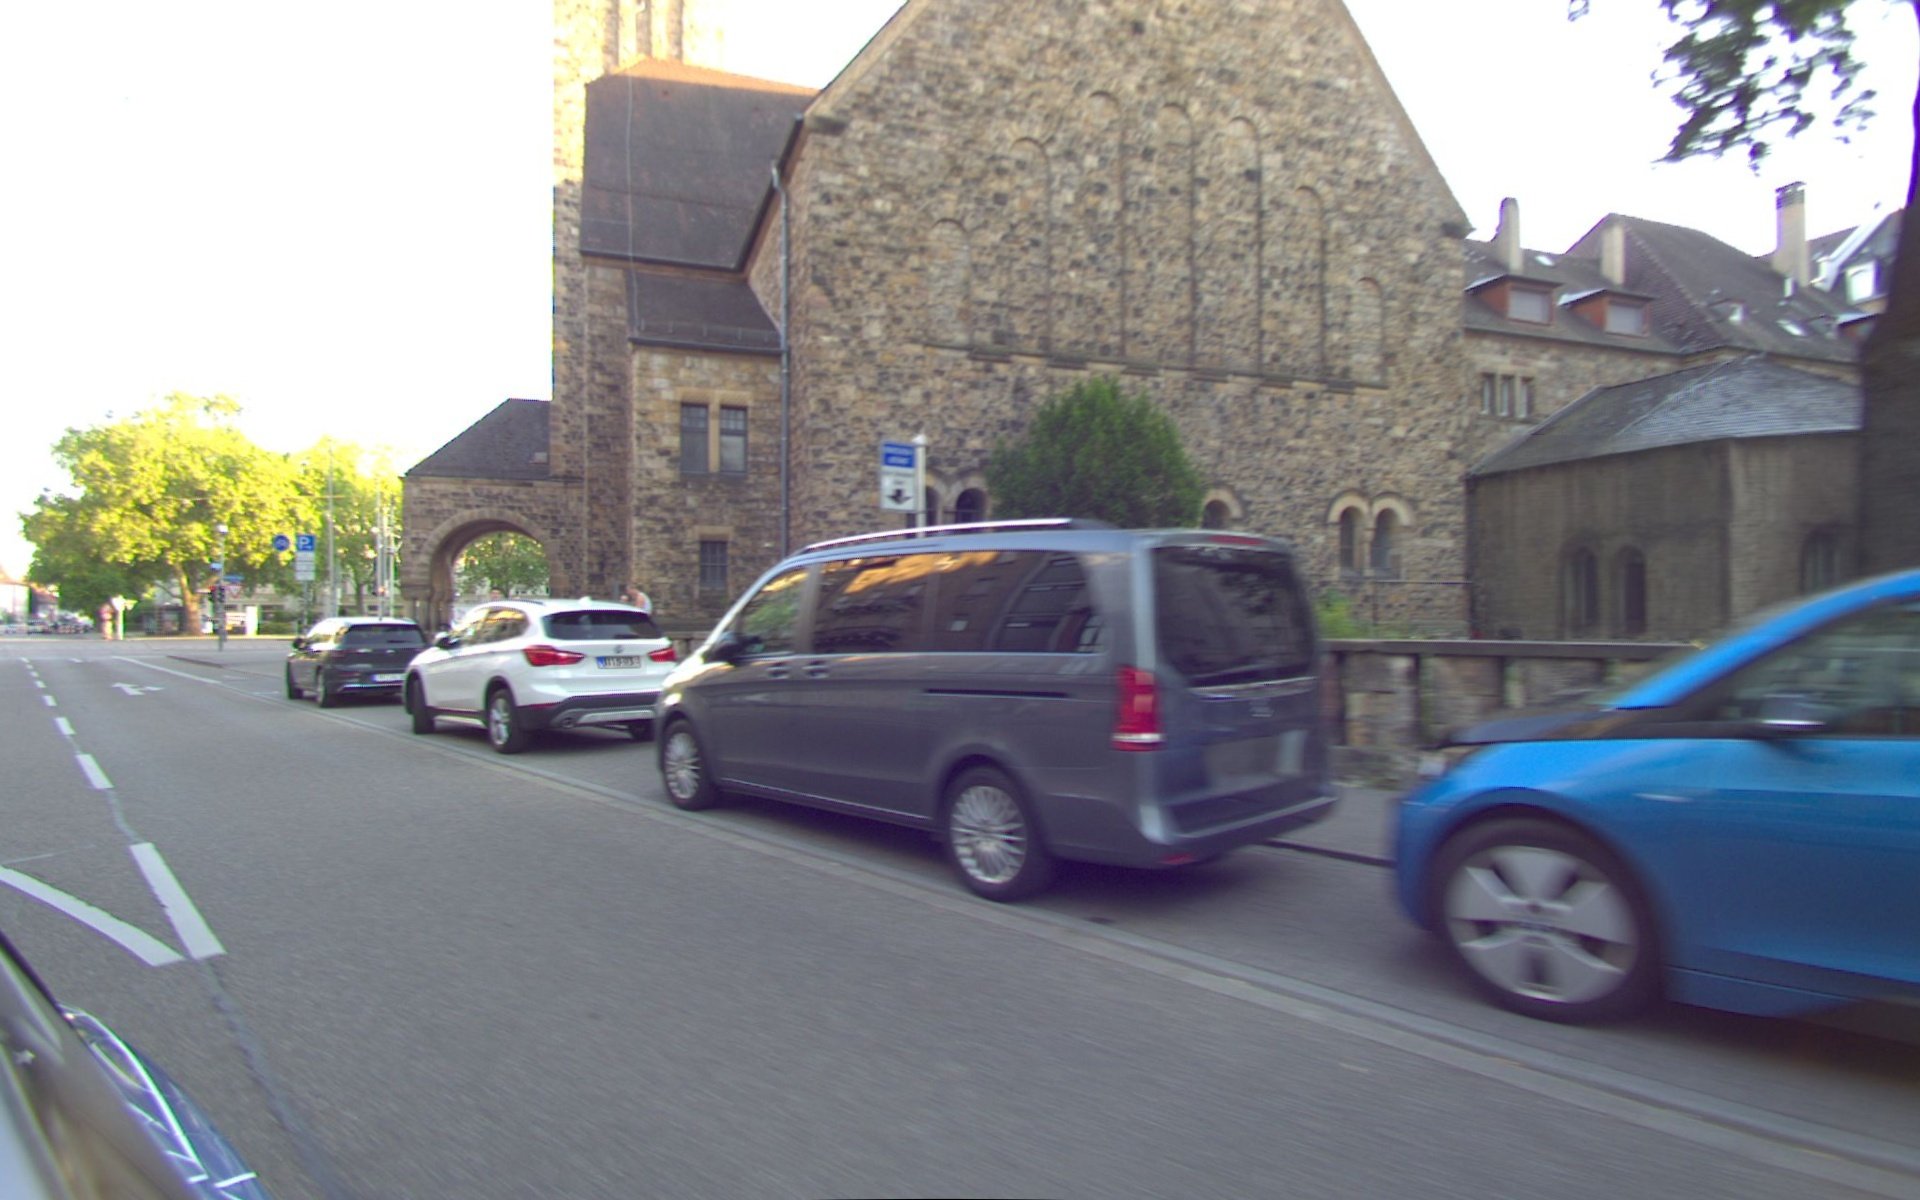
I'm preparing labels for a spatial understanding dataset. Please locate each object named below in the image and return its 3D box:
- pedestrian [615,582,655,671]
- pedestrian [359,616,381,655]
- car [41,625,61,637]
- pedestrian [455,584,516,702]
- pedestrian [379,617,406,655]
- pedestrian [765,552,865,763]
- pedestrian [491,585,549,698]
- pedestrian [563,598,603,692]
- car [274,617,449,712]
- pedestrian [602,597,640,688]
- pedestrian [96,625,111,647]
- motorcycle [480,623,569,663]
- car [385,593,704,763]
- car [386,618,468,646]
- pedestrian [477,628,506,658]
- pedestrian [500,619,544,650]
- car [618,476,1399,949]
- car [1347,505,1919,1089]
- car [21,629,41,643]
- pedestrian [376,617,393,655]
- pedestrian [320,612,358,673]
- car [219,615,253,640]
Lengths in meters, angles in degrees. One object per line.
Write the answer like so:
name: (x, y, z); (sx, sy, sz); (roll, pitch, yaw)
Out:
pedestrian: (-5.868, 0.471, 18.262); (0.641, 1.557, 0.587); (0, -1, -20)
pedestrian: (-22.569, 1.362, 38.713); (0.541, 1.464, 0.559); (0, -1, -9)
car: (-120.595, 4.109, 134.247); (1.800, 1.586, 4.007); (0, -1, -40)
pedestrian: (-7.870, 0.703, 16.787); (0.891, 1.893, 0.639); (-2, -2, 43)
pedestrian: (-21.129, 1.331, 37.688); (0.693, 1.417, 0.633); (0, -1, -9)
pedestrian: (-1.389, 0.529, 9.696); (0.803, 1.920, 0.576); (-2, -2, 43)
pedestrian: (-7.525, 0.695, 17.318); (0.989, 1.870, 0.566); (-2, -2, 43)
pedestrian: (-6.659, 0.785, 17.870); (0.542, 1.634, 0.414); (-1, -1, 6)
car: (-10.476, 1.028, 17.576); (1.762, 1.446, 4.320); (1, -2, -42)
pedestrian: (-6.349, 0.795, 18.963); (0.542, 1.687, 0.414); (-1, -1, 6)
pedestrian: (-67.324, 2.825, 79.582); (0.734, 1.641, 0.662); (0, -2, -27)
motorcycle: (-13.550, 1.320, 31.556); (2.385, 1.134, 0.823); (-2, 0, -40)
car: (-4.996, 0.787, 11.818); (4.470, 1.604, 1.850); (-1, -2, 45)
car: (-31.200, 1.858, 59.342); (3.934, 1.570, 1.846); (0, -2, -12)
pedestrian: (-15.674, 1.424, 33.878); (0.689, 0.999, 0.559); (-1, -1, 13)
pedestrian: (-16.186, 1.271, 37.393); (1.317, 1.102, 0.684); (0, -1, 7)
car: (-0.186, 0.500, 6.659); (1.969, 1.881, 5.295); (1, -2, -42)
car: (3.442, 0.525, 2.971); (1.620, 1.567, 4.009); (1, -2, -42)
car: (-133.141, 5.168, 145.016); (1.962, 1.971, 4.602); (1, -2, -41)
pedestrian: (-22.086, 1.381, 38.858); (0.395, 1.417, 0.549); (0, -1, -9)
pedestrian: (-17.955, 1.213, 29.258); (0.690, 1.738, 0.707); (-1, -2, 36)
car: (-60.541, 2.302, 84.690); (1.836, 2.029, 3.822); (1, -2, -29)
